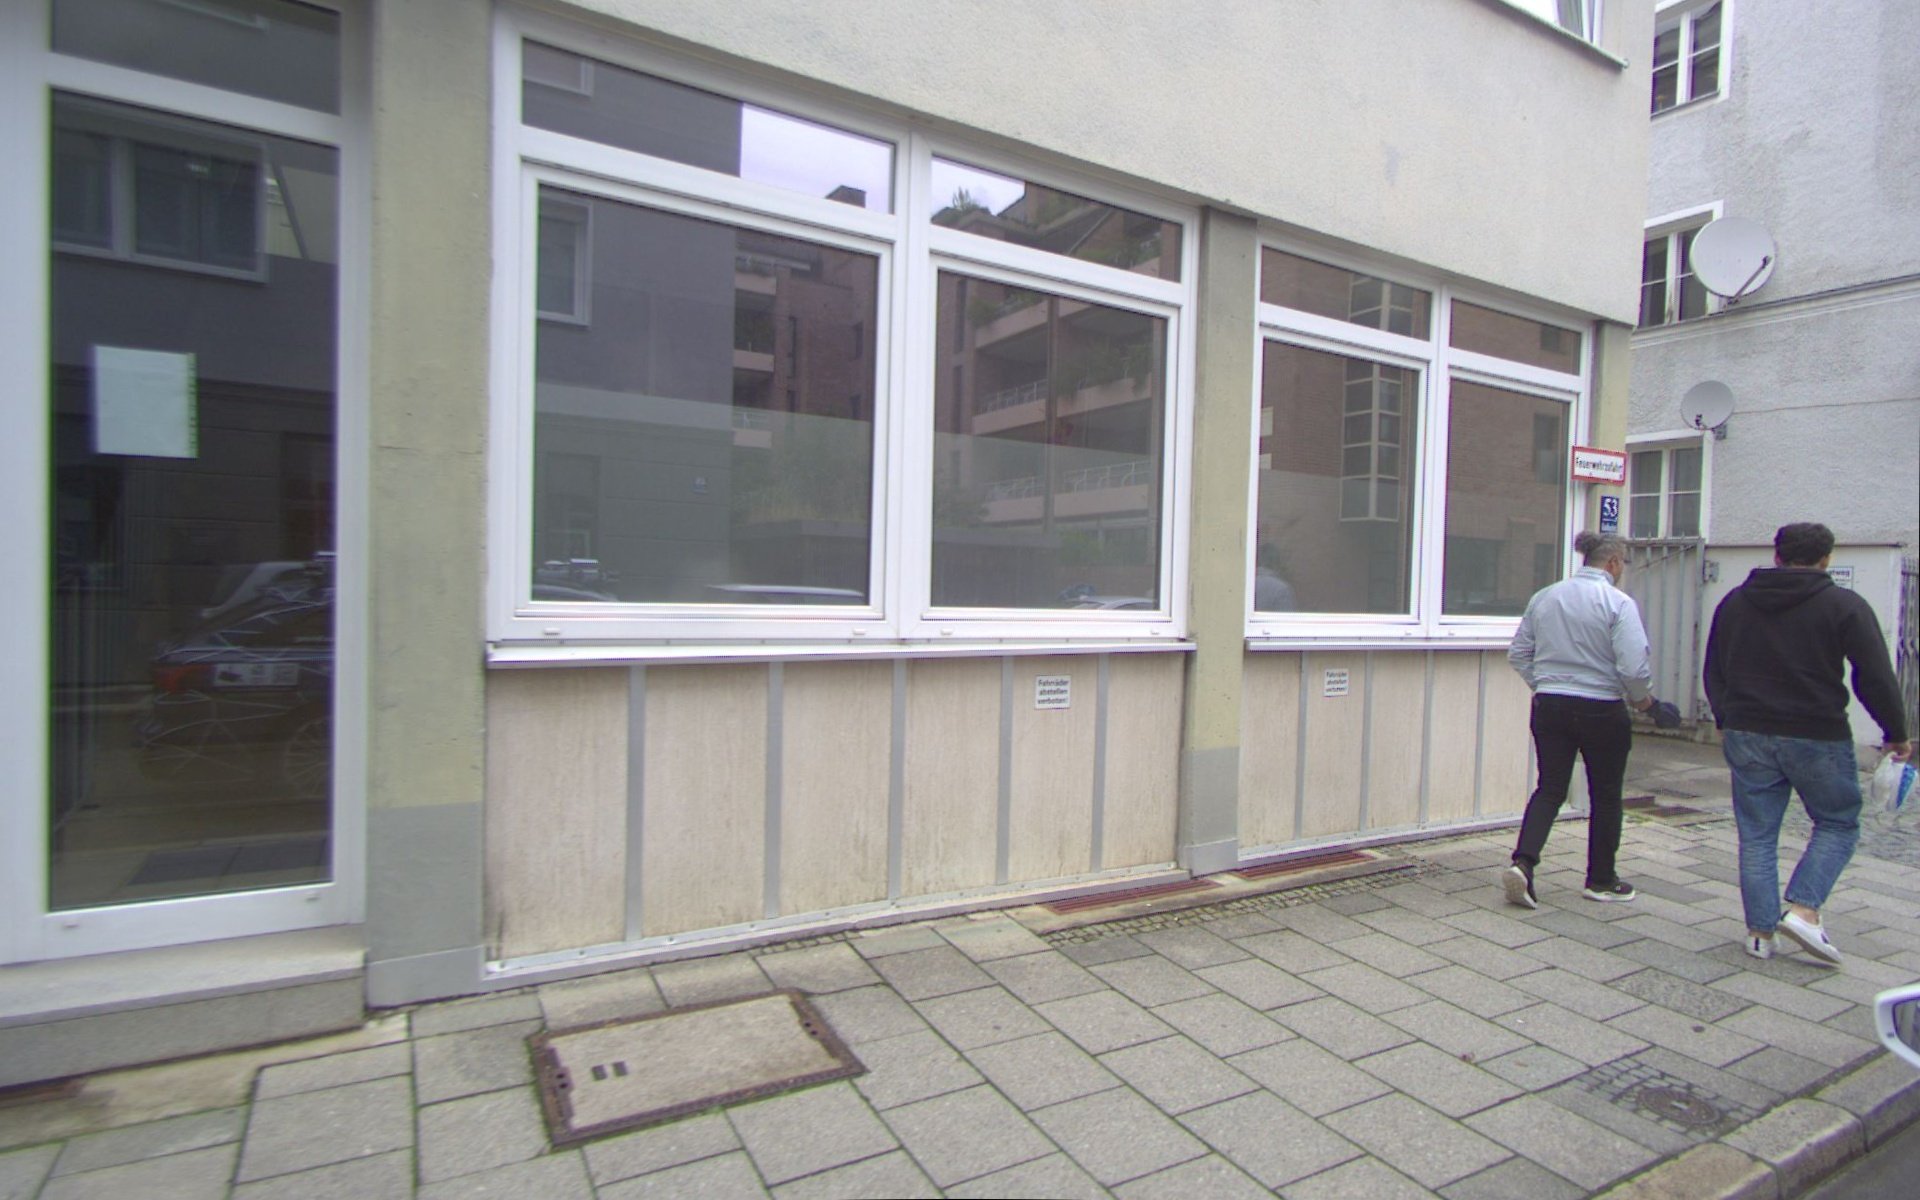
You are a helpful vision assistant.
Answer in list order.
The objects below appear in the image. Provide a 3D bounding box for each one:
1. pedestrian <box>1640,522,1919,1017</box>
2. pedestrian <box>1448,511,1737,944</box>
[{"bbox_3d":[3.455,0.609,4.123,0.828,1.789,0.715,2,2,-30],"label":"pedestrian"},{"bbox_3d":[2.966,0.532,4.737,0.906,1.821,0.715,2,2,-30],"label":"pedestrian"}]
